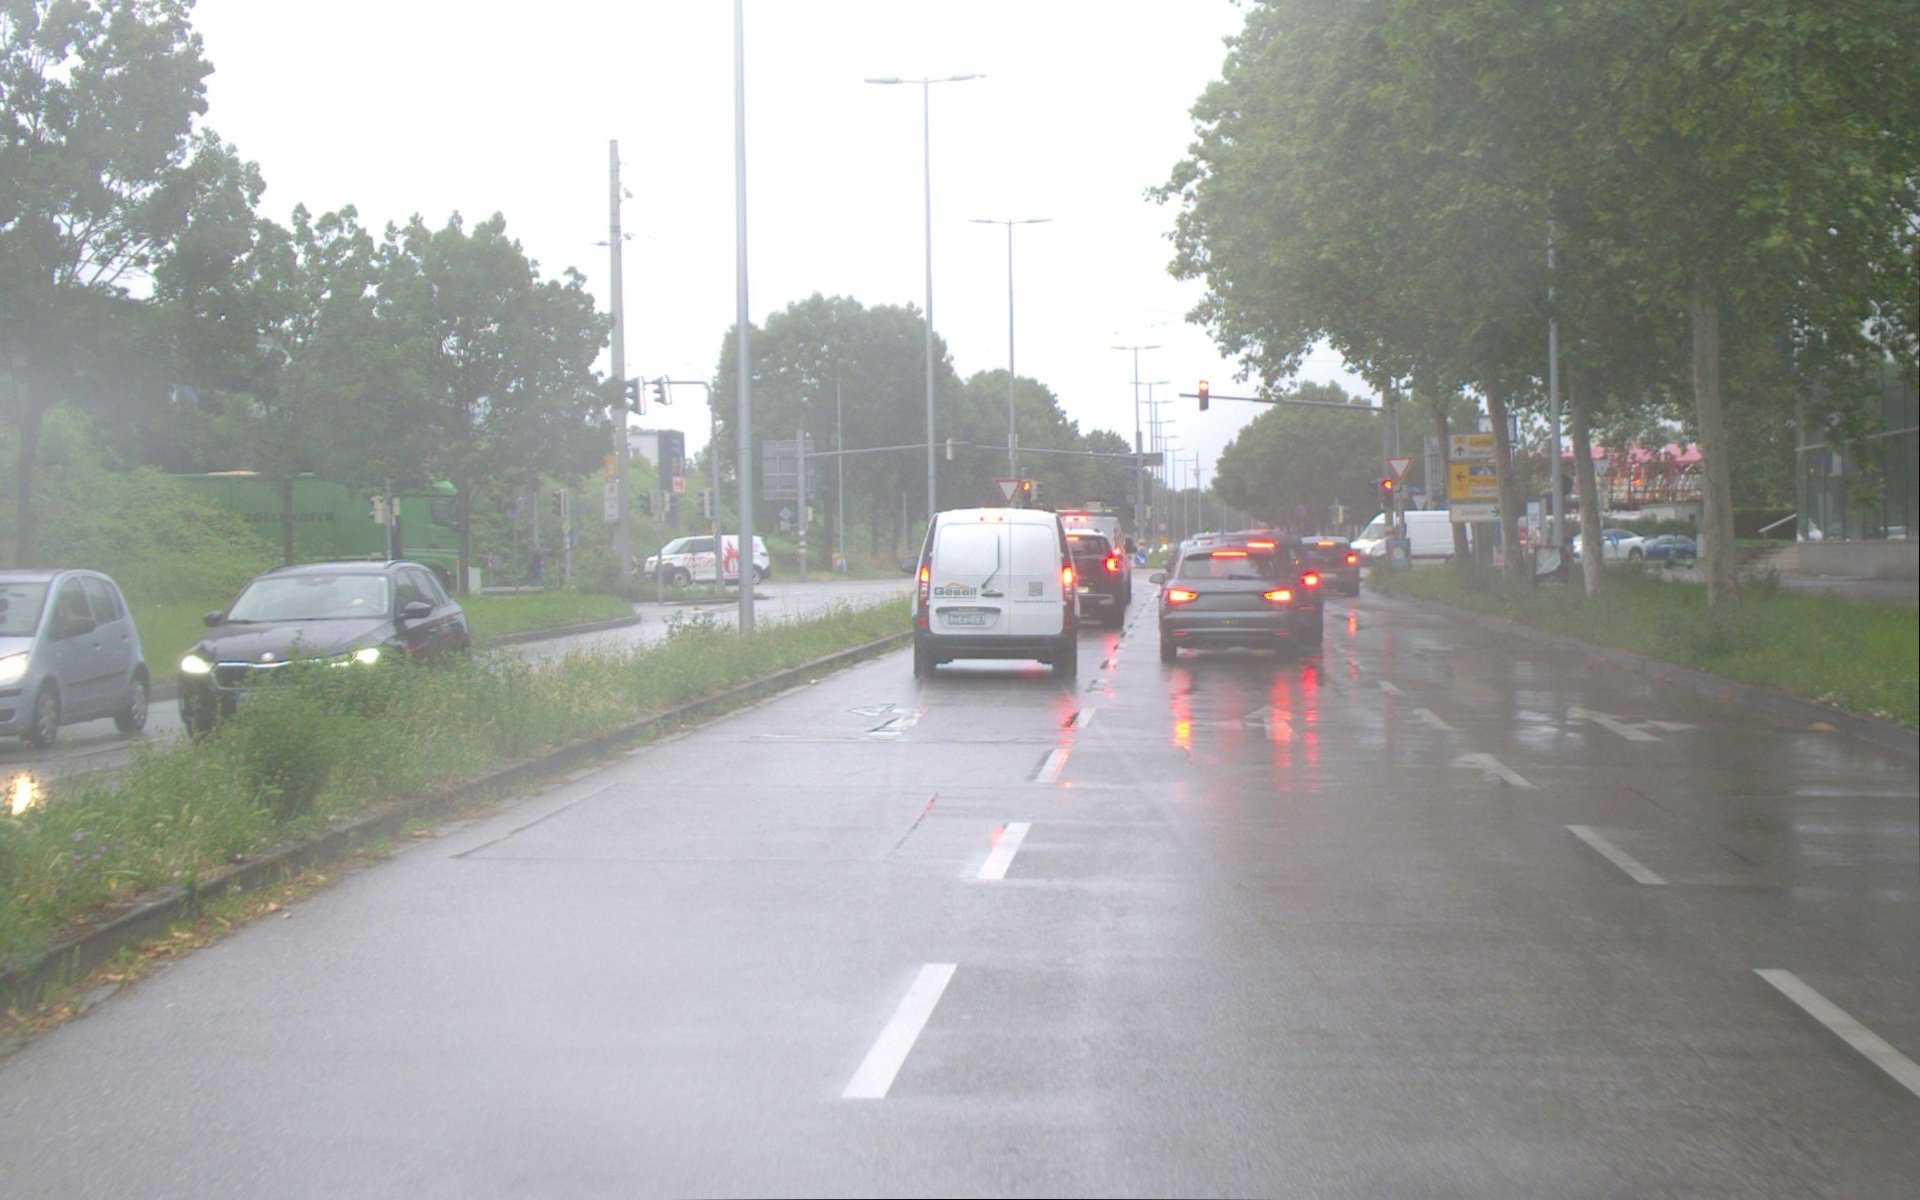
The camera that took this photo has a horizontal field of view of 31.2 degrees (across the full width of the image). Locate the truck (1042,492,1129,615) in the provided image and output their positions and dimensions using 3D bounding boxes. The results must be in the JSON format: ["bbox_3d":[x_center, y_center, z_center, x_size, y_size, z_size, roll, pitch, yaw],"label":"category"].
[{"bbox_3d":[2.604,-0.967,71.029,1.756,2.458,4.000,0,1,2],"label":"truck"}]

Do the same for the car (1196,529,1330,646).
[{"bbox_3d":[4.287,-0.206,49.076,1.708,1.544,4.000,0,2,2],"label":"car"}]

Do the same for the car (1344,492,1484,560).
[{"bbox_3d":[19.317,-3.128,146.176,6.001,2.734,2.000,0,-1,-32],"label":"car"}]

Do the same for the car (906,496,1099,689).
[{"bbox_3d":[0.523,-0.070,37.700,1.994,2.007,4.000,0,0,2],"label":"car"}]

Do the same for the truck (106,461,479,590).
[{"bbox_3d":[-18.842,-2.035,97.464,10.108,3.440,2.658,0,-1,-33],"label":"truck"}]

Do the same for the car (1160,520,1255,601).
[{"bbox_3d":[4.625,-0.766,64.460,1.711,1.440,4.000,0,1,4],"label":"car"}]

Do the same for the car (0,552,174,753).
[{"bbox_3d":[-8.250,0.408,29.838,1.696,1.612,3.847,0,1,5],"label":"car"}]

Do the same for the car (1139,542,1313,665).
[{"bbox_3d":[3.252,0.012,42.694,1.994,1.447,4.000,0,1,2],"label":"car"}]

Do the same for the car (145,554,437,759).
[{"bbox_3d":[-5.691,0.422,29.728,1.720,1.612,4.346,-1,1,-1],"label":"car"}]

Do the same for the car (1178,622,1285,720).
[{"bbox_3d":[4.491,1.148,57.125,1.711,1.440,4.000,0,1,4],"label":"car"}]
